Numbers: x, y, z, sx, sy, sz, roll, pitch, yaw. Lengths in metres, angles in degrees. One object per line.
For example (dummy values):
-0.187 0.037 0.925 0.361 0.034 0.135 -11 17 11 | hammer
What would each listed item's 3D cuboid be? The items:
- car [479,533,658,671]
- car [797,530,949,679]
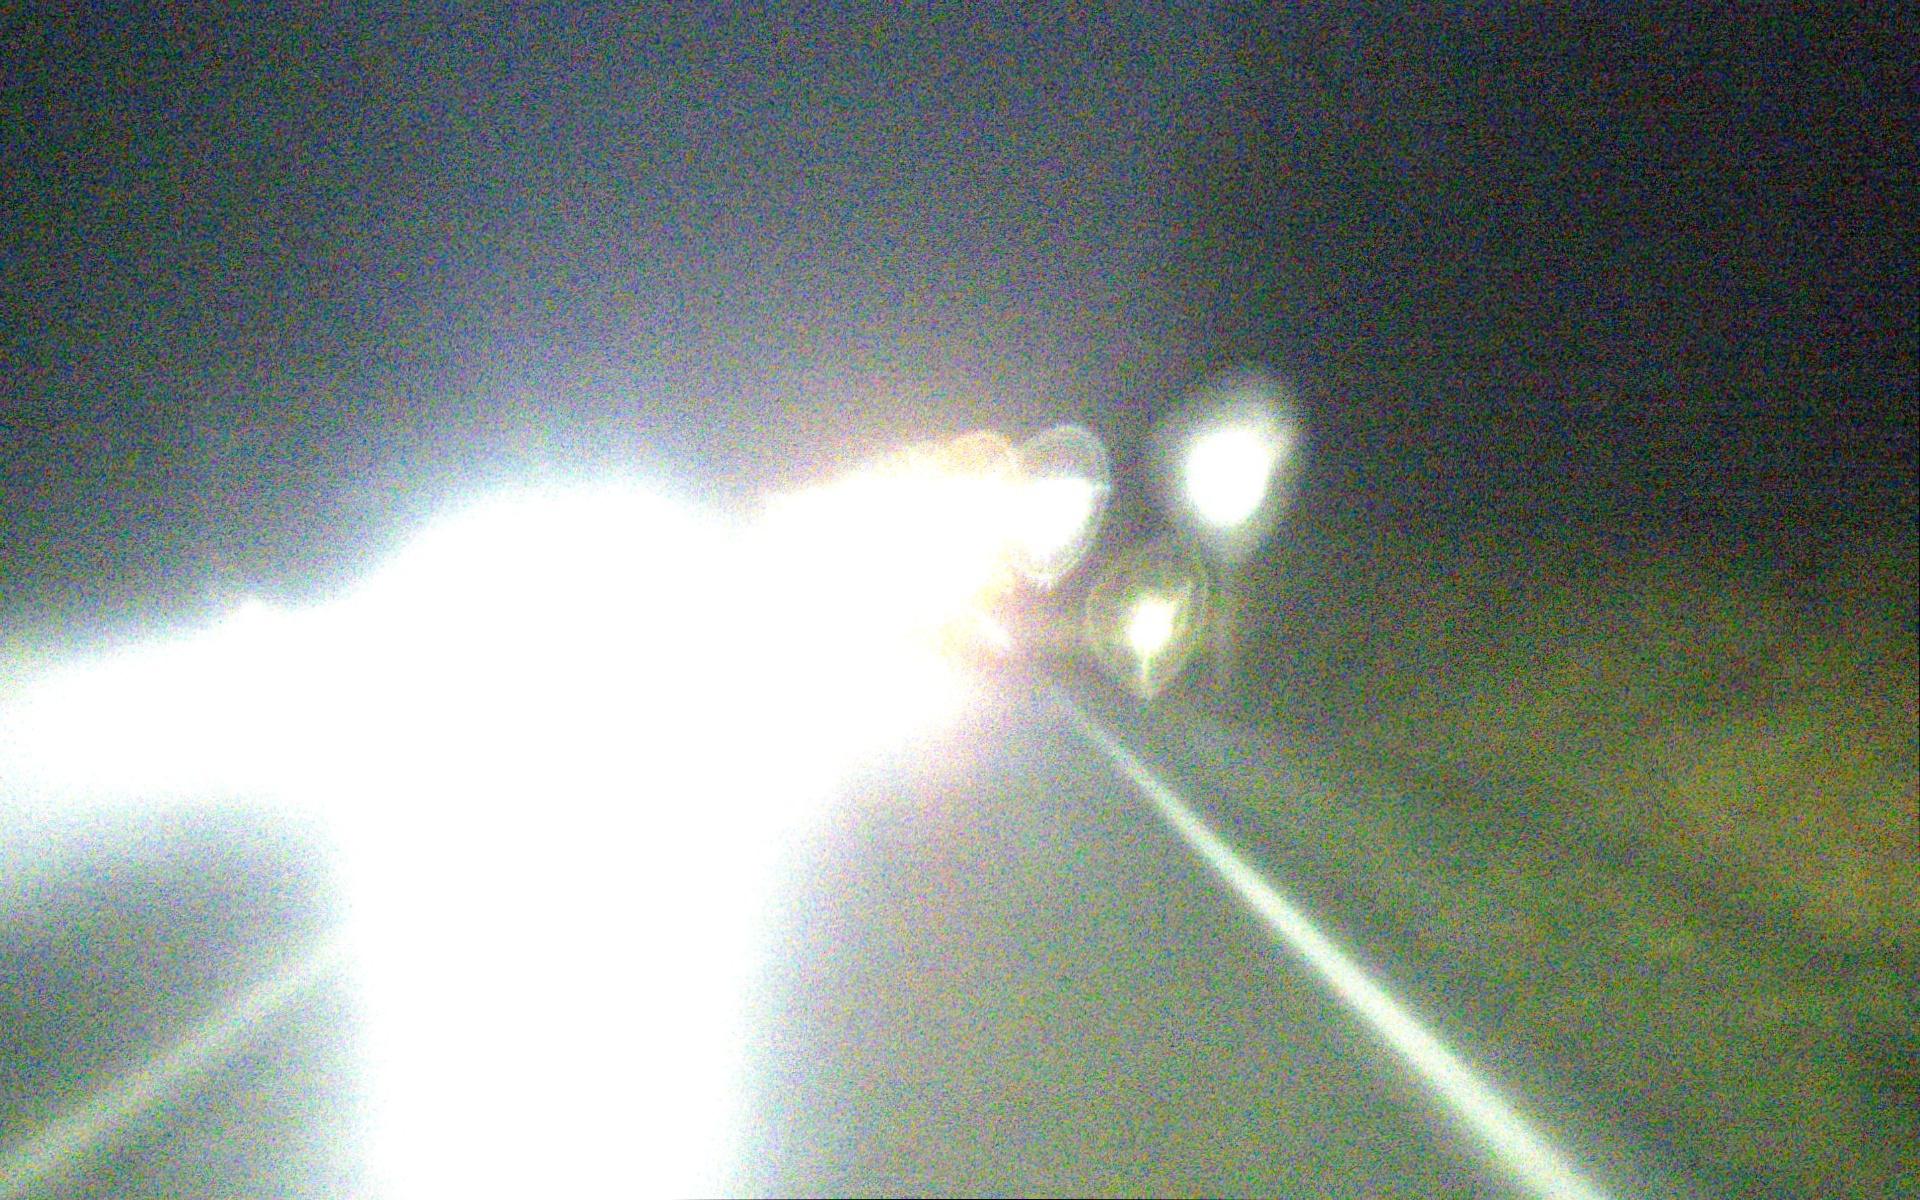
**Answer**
-5.102 0.004 45.312 1.946 1.722 4.000 1 1 -1 | car
-1.124 0.016 44.663 1.842 1.734 4.001 1 2 -1 | car
